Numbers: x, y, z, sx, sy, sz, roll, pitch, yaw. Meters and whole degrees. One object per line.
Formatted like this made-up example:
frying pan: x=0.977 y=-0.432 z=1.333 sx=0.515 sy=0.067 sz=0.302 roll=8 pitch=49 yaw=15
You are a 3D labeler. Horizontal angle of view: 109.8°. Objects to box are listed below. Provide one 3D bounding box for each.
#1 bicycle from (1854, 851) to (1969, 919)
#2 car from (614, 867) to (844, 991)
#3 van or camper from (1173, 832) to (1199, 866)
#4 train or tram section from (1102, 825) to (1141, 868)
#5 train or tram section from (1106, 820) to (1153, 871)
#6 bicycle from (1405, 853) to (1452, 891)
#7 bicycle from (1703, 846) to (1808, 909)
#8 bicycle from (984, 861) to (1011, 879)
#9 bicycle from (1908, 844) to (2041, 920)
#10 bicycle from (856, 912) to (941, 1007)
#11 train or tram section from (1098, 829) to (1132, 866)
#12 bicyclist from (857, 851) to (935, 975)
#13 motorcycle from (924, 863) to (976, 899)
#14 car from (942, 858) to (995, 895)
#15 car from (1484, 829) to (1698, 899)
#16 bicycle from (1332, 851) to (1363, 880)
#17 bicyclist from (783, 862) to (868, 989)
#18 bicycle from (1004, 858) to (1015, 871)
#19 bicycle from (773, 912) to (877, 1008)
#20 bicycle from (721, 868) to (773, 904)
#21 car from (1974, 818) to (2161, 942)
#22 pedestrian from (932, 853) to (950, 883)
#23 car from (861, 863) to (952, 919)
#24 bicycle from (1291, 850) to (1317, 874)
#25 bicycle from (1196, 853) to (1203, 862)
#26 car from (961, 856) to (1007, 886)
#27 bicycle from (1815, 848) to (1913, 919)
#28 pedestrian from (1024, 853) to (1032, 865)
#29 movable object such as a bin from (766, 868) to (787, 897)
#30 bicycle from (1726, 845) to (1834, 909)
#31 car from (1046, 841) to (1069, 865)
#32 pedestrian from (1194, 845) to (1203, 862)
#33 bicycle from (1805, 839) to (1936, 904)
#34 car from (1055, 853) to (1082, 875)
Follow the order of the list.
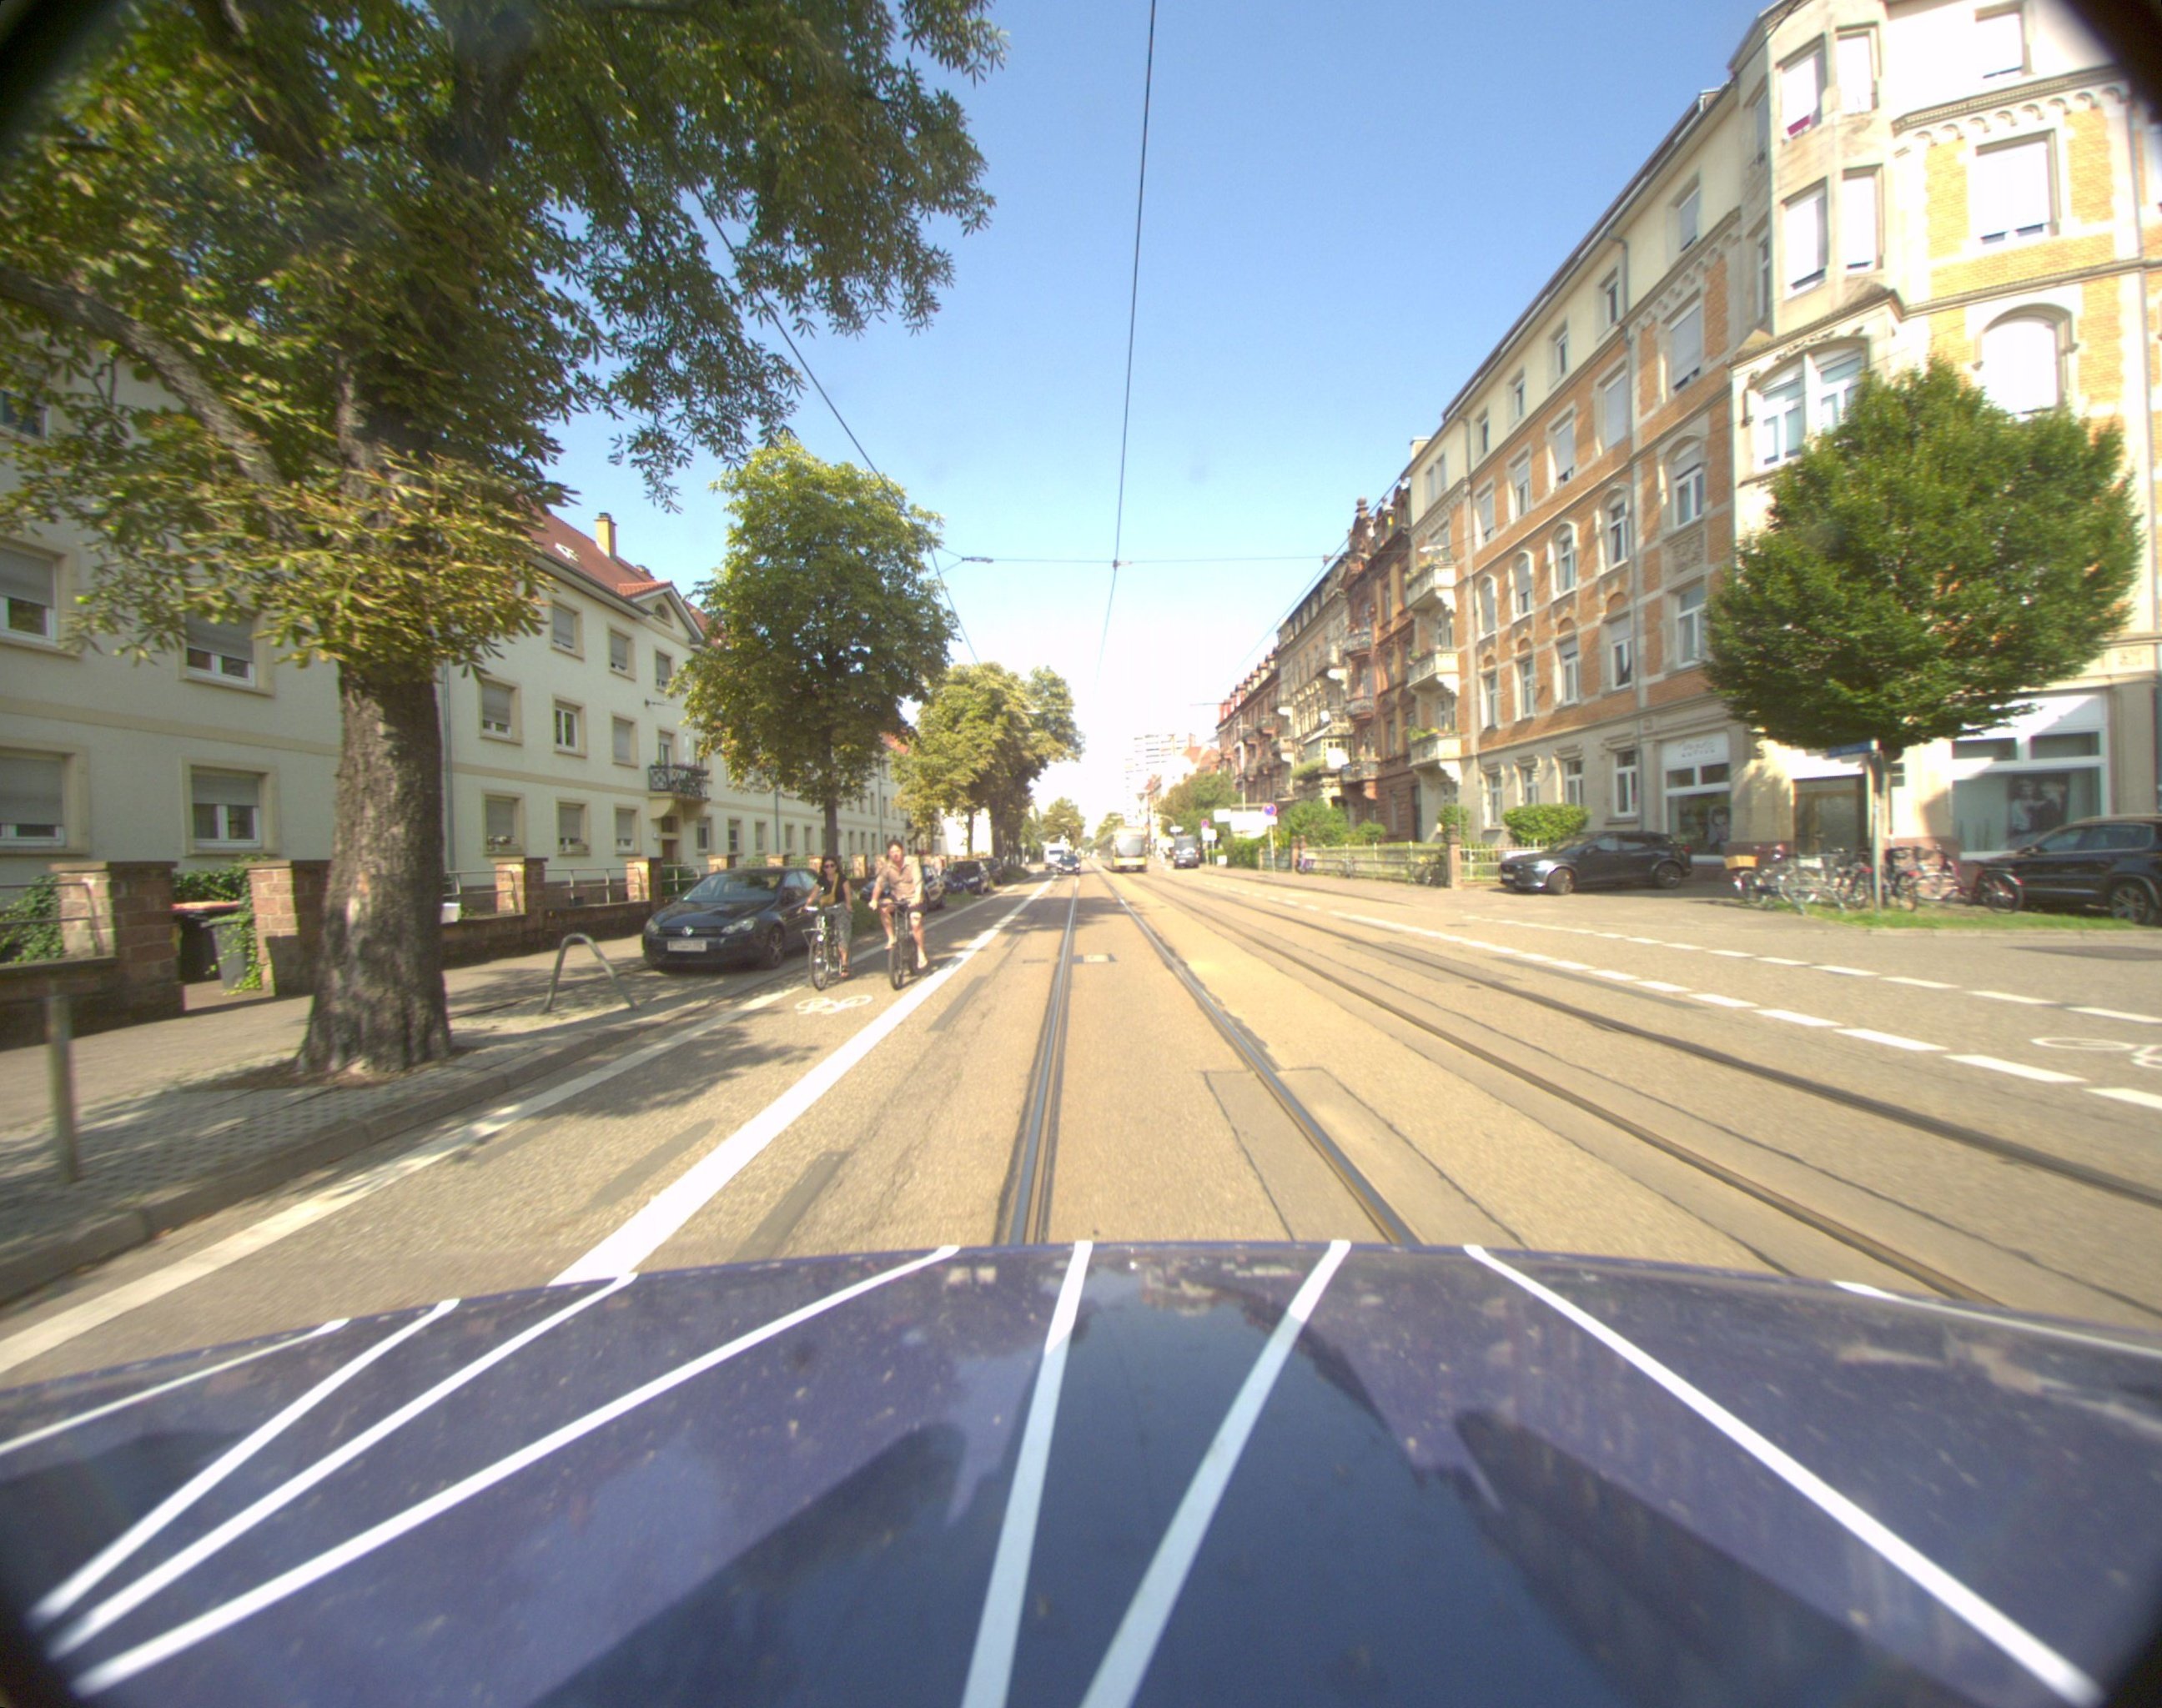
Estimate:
bicycle: x=14.422 y=0.505 z=13.262 sx=0.542 sy=1.083 sz=1.839 roll=-1 pitch=1 yaw=19
car: x=-5.204 y=1.010 z=11.908 sx=1.694 sy=1.493 sz=4.095 roll=0 pitch=1 yaw=0
van or camper: x=8.781 y=-0.449 z=63.826 sx=2.054 sy=2.629 sz=6.092 roll=-1 pitch=1 yaw=7
train or tram section: x=3.599 y=-0.639 z=69.739 sx=2.741 sy=3.485 sz=10.774 roll=-2 pitch=0 yaw=0
train or tram section: x=3.630 y=-0.610 z=58.994 sx=2.741 sy=3.485 sz=10.774 roll=-2 pitch=0 yaw=0
bicycle: x=10.609 y=0.518 z=23.253 sx=0.546 sy=1.052 sz=1.839 roll=-6 pitch=0 yaw=2
bicycle: x=13.597 y=0.464 z=15.326 sx=1.853 sy=1.190 sz=0.542 roll=-1 pitch=1 yaw=-10
bicycle: x=-5.243 y=0.986 z=47.652 sx=0.524 sy=1.067 sz=1.732 roll=-2 pitch=1 yaw=42
bicycle: x=15.285 y=0.446 z=13.068 sx=0.542 sy=1.222 sz=1.775 roll=-1 pitch=1 yaw=14
bicycle: x=-2.181 y=1.238 z=9.267 sx=0.628 sy=0.903 sz=1.525 roll=-4 pitch=1 yaw=-1
train or tram section: x=3.526 y=-0.687 z=82.829 sx=2.741 sy=3.485 sz=15.431 roll=-2 pitch=0 yaw=0
bicyclist: x=-2.227 y=0.684 z=9.247 sx=0.628 sy=1.393 sz=0.929 roll=-4 pitch=1 yaw=-1
motorcycle: x=-5.019 y=1.054 z=29.247 sx=1.859 sy=1.281 sz=0.705 roll=2 pitch=-4 yaw=-3
car: x=-4.867 y=0.931 z=33.402 sx=1.649 sy=1.440 sz=4.245 roll=0 pitch=1 yaw=0
car: x=13.134 y=0.224 z=19.766 sx=4.147 sy=1.534 sz=2.064 roll=-3 pitch=1 yaw=-1
bicycle: x=10.614 y=0.442 z=30.278 sx=0.546 sy=1.052 sz=1.839 roll=-6 pitch=0 yaw=2
bicyclist: x=-3.186 y=0.856 z=9.547 sx=0.656 sy=1.465 sz=0.908 roll=-4 pitch=1 yaw=-1
bicycle: x=-6.068 y=0.892 z=64.997 sx=0.774 sy=1.097 sz=2.333 roll=-2 pitch=0 yaw=-2
bicycle: x=-3.150 y=1.281 z=9.539 sx=0.656 sy=0.903 sz=1.774 roll=-4 pitch=1 yaw=-1
bicycle: x=-11.253 y=1.059 z=25.712 sx=0.774 sy=1.097 sz=2.333 roll=-2 pitch=0 yaw=-2
car: x=16.554 y=0.312 z=11.860 sx=1.764 sy=1.651 sz=3.773 roll=-3 pitch=1 yaw=21
pedestrian: x=-8.224 y=0.798 z=44.585 sx=0.754 sy=1.739 sz=0.878 roll=-2 pitch=1 yaw=7
car: x=-5.048 y=1.019 z=22.551 sx=1.694 sy=1.426 sz=4.336 roll=1 pitch=0 yaw=0
bicycle: x=10.612 y=0.384 z=36.211 sx=0.608 sy=1.052 sz=1.839 roll=-6 pitch=0 yaw=2
bicycle: x=12.122 y=0.324 z=77.911 sx=0.527 sy=0.922 sz=1.703 roll=-2 pitch=0 yaw=3
car: x=-5.205 y=0.891 z=41.258 sx=1.649 sy=1.531 sz=3.843 roll=0 pitch=1 yaw=6
bicycle: x=13.815 y=0.485 z=13.462 sx=0.482 sy=1.153 sz=1.775 roll=-1 pitch=1 yaw=20
pedestrian: x=-7.400 y=0.689 z=106.306 sx=1.079 sy=1.714 sz=0.969 roll=1 pitch=0 yaw=-1
movable object such as a bin: x=-11.682 y=1.083 z=29.154 sx=0.508 sy=1.063 sz=0.660 roll=-2 pitch=1 yaw=1
bicycle: x=13.684 y=0.440 z=14.885 sx=1.863 sy=1.174 sz=0.542 roll=-1 pitch=1 yaw=-10
car: x=-2.339 y=-0.078 z=77.499 sx=2.087 sy=2.264 sz=4.827 roll=-2 pitch=0 yaw=1
pedestrian: x=11.940 y=-0.018 z=77.357 sx=0.639 sy=1.668 sz=0.633 roll=-2 pitch=0 yaw=-12
bicycle: x=15.547 y=0.346 z=14.999 sx=1.770 sy=1.250 sz=0.544 roll=-1 pitch=1 yaw=14
car: x=-0.900 y=0.711 z=55.803 sx=1.775 sy=1.459 sz=4.000 roll=-3 pitch=0 yaw=0
